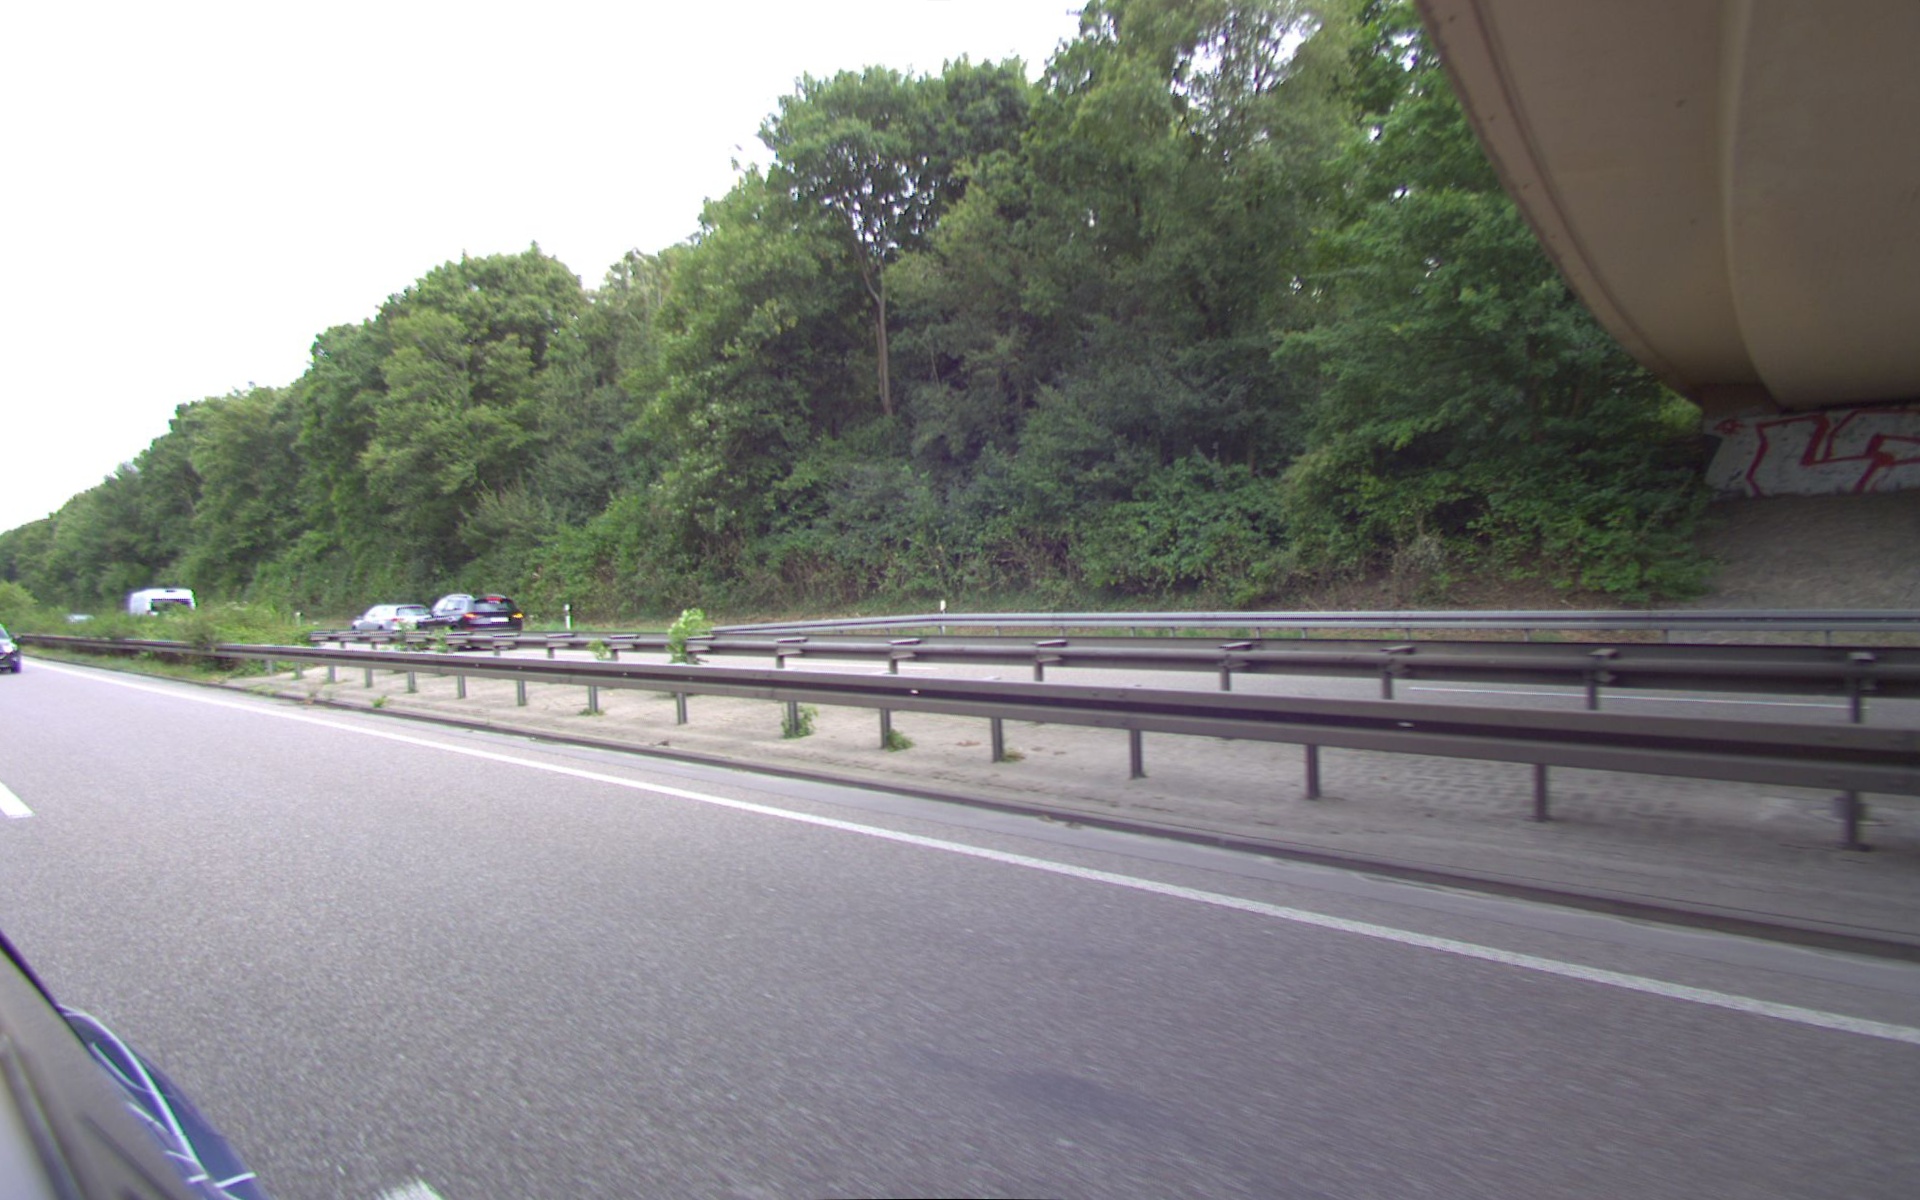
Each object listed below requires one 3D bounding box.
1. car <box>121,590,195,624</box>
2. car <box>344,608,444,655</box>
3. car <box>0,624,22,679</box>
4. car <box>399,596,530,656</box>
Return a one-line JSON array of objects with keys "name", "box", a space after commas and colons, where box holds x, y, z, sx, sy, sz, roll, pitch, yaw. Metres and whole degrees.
[{"name": "car", "box": [-41.142, 0.372, 51.893, 4.637, 1.664, 2.164, -1, 0, 41]}, {"name": "car", "box": [-21.717, 1.152, 38.760, 4.637, 1.664, 1.874, -1, 0, 41]}, {"name": "car", "box": [-28.276, 1.444, 28.844, 4.637, 1.469, 1.807, -1, 0, 41]}, {"name": "car", "box": [-14.892, 0.742, 30.286, 4.637, 1.664, 1.874, -1, 0, 41]}]
